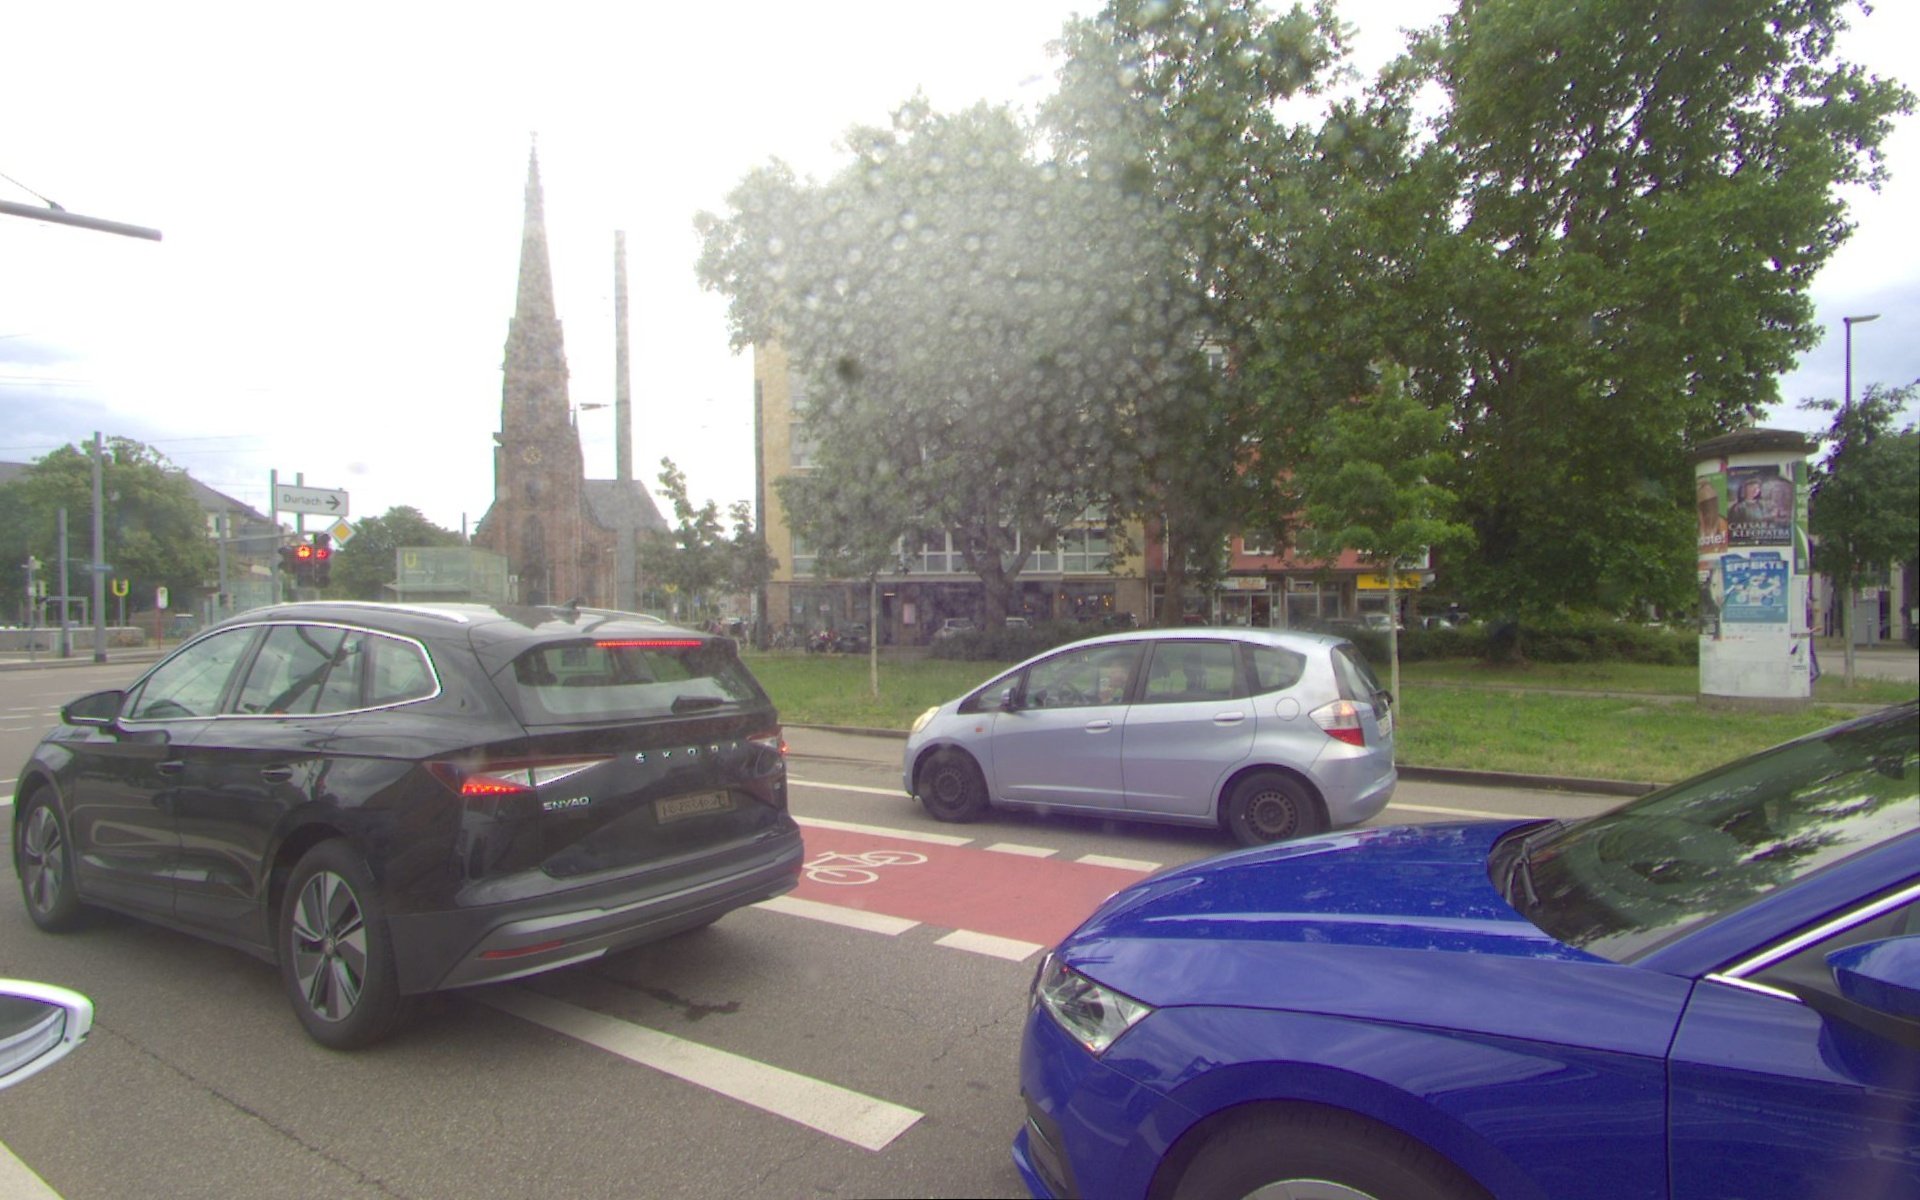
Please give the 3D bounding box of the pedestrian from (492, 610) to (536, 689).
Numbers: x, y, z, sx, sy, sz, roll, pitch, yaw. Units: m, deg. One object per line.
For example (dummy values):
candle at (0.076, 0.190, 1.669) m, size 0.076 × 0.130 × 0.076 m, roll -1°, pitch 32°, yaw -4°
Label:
pedestrian at (-11.249, 1.233, 25.270) m, size 0.874 × 1.956 × 1.016 m, roll 0°, pitch 0°, yaw -16°

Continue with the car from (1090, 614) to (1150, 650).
car at (7.385, 1.466, 46.688) m, size 1.825 × 1.568 × 4.476 m, roll 0°, pitch -1°, yaw -3°

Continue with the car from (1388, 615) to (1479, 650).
car at (21.979, 1.479, 46.674) m, size 1.825 × 1.568 × 4.476 m, roll 0°, pitch -1°, yaw -5°

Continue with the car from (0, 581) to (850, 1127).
car at (-2.840, 0.796, 4.894) m, size 4.444 × 1.617 × 1.774 m, roll -1°, pitch -1°, yaw 31°

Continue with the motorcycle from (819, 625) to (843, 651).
motorcycle at (-5.092, 1.492, 39.441) m, size 0.858 × 1.010 × 1.014 m, roll 0°, pitch -1°, yaw -13°

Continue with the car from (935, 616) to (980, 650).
car at (-0.145, 1.500, 46.144) m, size 1.825 × 1.509 × 4.476 m, roll 0°, pitch -1°, yaw -3°

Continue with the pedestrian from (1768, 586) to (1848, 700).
pedestrian at (14.173, 0.703, 16.739) m, size 0.968 × 1.868 × 0.536 m, roll 0°, pitch 0°, yaw -11°

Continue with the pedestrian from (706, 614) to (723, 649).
pedestrian at (-11.872, 1.518, 48.383) m, size 0.625 × 1.659 × 0.872 m, roll 0°, pitch 0°, yaw 0°

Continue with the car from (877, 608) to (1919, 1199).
car at (2.155, 0.764, 1.677) m, size 4.402 × 1.508 × 1.776 m, roll -1°, pitch -1°, yaw 32°

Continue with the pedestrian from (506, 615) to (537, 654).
pedestrian at (-21.030, 1.650, 48.086) m, size 1.066 × 1.820 × 0.947 m, roll -1°, pitch -1°, yaw -3°

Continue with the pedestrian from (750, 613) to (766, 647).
pedestrian at (-10.025, 1.499, 49.739) m, size 0.625 × 1.659 × 0.872 m, roll 0°, pitch 0°, yaw 0°

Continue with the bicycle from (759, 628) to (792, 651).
bicycle at (-7.445, 1.601, 40.449) m, size 1.240 × 0.929 × 0.595 m, roll 0°, pitch 0°, yaw 2°

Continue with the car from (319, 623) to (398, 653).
car at (-32.273, 2.031, 53.879) m, size 1.740 × 1.483 × 4.001 m, roll -2°, pitch -1°, yaw 1°

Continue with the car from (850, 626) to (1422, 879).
car at (1.274, 0.954, 7.785) m, size 4.039 × 1.486 × 1.746 m, roll -1°, pitch -1°, yaw 32°

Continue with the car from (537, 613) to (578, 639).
car at (-32.553, 2.061, 81.039) m, size 1.961 × 2.040 × 4.000 m, roll 0°, pitch -1°, yaw -5°

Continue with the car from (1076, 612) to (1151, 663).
car at (5.503, 1.329, 36.468) m, size 1.825 × 1.745 × 4.476 m, roll 0°, pitch -1°, yaw -3°

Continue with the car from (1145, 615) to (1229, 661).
car at (8.238, 1.346, 36.666) m, size 1.825 × 1.568 × 4.476 m, roll 0°, pitch -1°, yaw -3°

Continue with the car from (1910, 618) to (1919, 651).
car at (46.509, 1.606, 46.335) m, size 1.865 × 1.568 × 4.469 m, roll -2°, pitch -1°, yaw 17°

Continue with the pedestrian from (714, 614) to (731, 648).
pedestrian at (-11.745, 1.504, 49.475) m, size 0.625 × 1.659 × 0.872 m, roll 0°, pitch 0°, yaw -1°

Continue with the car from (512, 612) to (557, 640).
car at (-32.466, 1.981, 76.488) m, size 1.961 × 2.040 × 4.000 m, roll 0°, pitch -1°, yaw -5°

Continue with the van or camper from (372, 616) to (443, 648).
van or camper at (-33.017, 1.896, 59.996) m, size 1.961 × 1.764 × 4.305 m, roll -2°, pitch -1°, yaw -3°

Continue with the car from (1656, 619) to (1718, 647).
car at (46.801, 2.115, 64.591) m, size 1.828 × 1.644 × 4.469 m, roll -2°, pitch -1°, yaw 17°

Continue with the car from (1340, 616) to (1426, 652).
car at (19.513, 1.543, 46.438) m, size 1.825 × 1.568 × 4.476 m, roll 0°, pitch -1°, yaw -5°

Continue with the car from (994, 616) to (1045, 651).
car at (2.673, 1.511, 46.191) m, size 1.825 × 1.509 × 4.476 m, roll 0°, pitch -1°, yaw -3°

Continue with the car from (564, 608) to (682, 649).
car at (-18.094, 1.485, 53.936) m, size 5.674 × 2.039 × 2.011 m, roll -1°, pitch -1°, yaw -40°

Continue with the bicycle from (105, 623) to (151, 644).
bicycle at (-55.429, 2.234, 66.735) m, size 0.699 × 1.348 × 2.252 m, roll -2°, pitch -1°, yaw 39°

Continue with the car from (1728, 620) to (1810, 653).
car at (43.532, 1.959, 54.012) m, size 1.828 × 1.644 × 4.469 m, roll -2°, pitch -1°, yaw 17°

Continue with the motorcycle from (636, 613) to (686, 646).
motorcycle at (-11.112, 1.093, 37.327) m, size 0.753 × 1.183 × 2.385 m, roll 0°, pitch -1°, yaw 12°

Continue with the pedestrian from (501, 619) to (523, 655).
pedestrian at (-20.757, 1.716, 46.429) m, size 0.625 × 1.659 × 0.872 m, roll 0°, pitch 0°, yaw -1°
